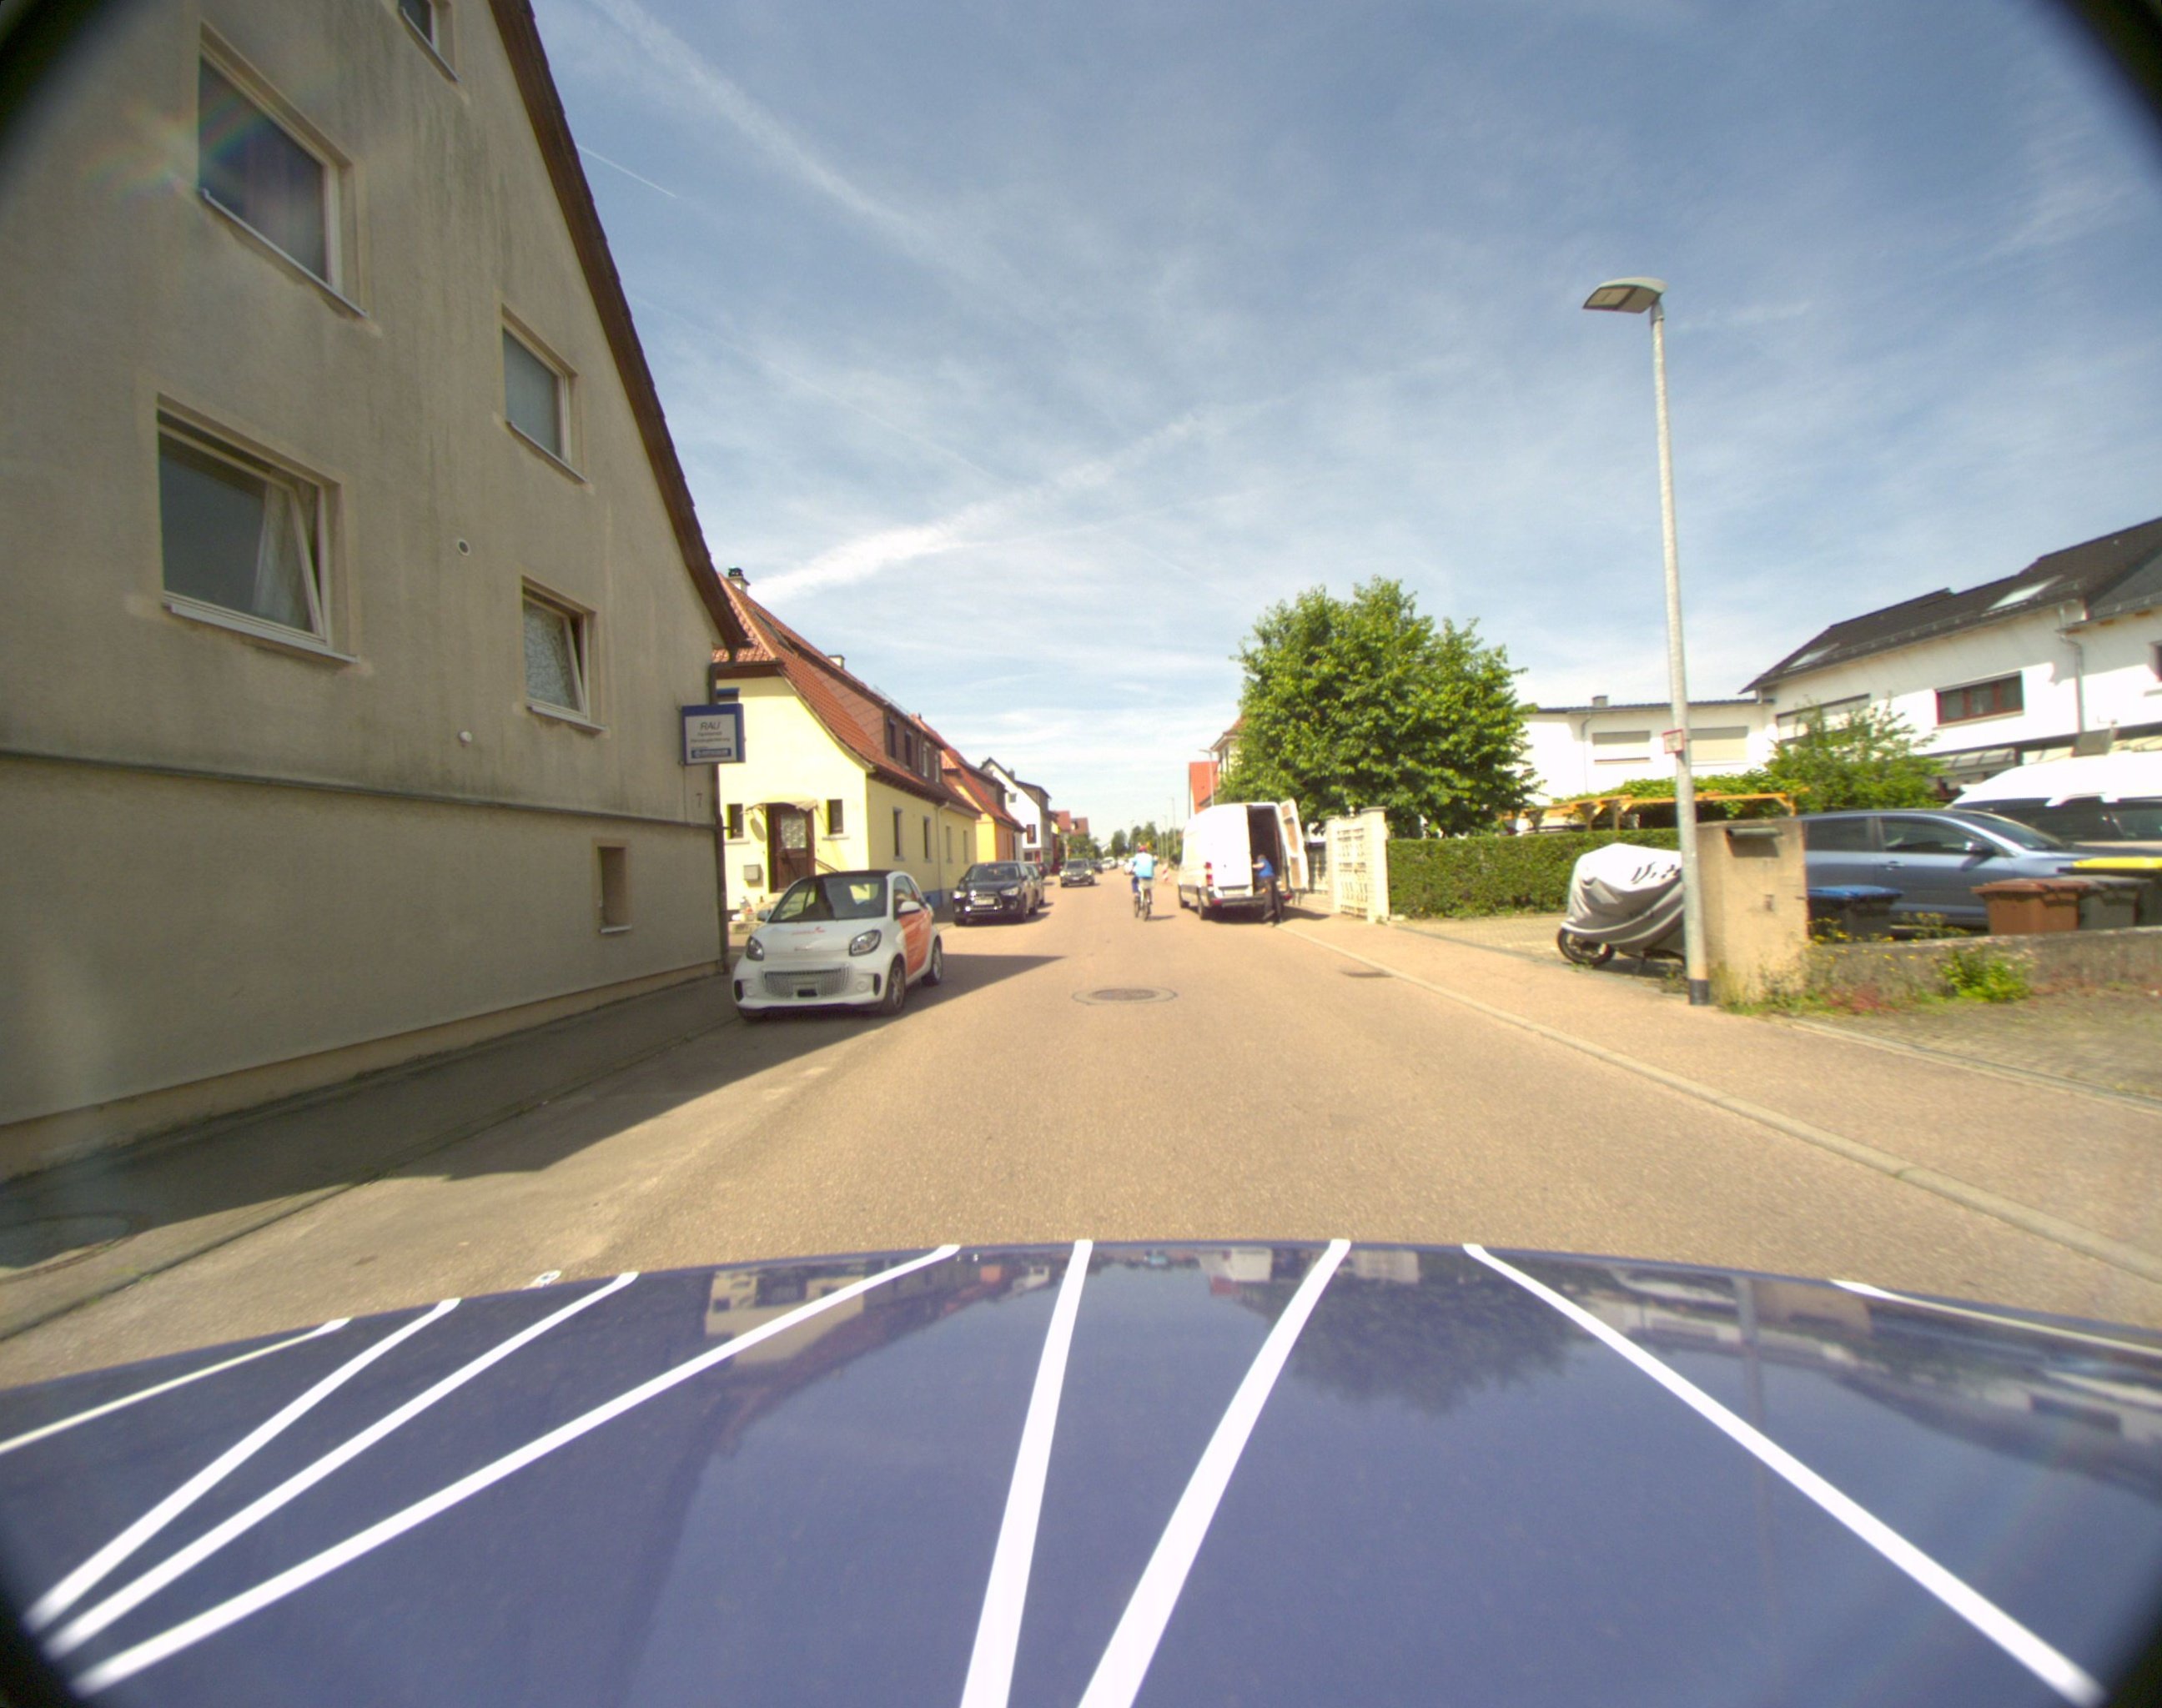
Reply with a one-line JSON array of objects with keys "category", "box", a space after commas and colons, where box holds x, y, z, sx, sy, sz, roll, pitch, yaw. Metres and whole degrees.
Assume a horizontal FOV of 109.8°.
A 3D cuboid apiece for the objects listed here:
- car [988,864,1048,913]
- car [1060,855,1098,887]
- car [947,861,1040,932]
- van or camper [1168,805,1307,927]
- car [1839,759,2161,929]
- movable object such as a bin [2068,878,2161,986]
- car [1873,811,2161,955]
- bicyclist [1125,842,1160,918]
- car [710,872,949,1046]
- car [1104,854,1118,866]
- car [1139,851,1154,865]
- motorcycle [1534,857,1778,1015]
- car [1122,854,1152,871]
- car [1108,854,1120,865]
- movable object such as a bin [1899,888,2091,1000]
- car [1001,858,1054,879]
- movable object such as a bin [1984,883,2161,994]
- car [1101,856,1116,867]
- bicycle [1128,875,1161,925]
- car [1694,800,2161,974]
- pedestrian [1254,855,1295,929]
[{"category": "car", "box": [-2.103, 1.124, 26.096, 1.615, 1.422, 3.754, -3, 0, 1]}, {"category": "car", "box": [-0.066, 0.935, 44.081, 1.837, 1.637, 4.325, -3, 0, 4]}, {"category": "car", "box": [-2.221, 1.049, 20.381, 1.732, 1.590, 4.254, -3, 0, 2]}, {"category": "van or camper", "box": [3.822, 0.273, 20.025, 2.190, 2.556, 6.807, -3, 0, 1]}, {"category": "car", "box": [15.936, -0.188, 12.538, 4.815, 2.478, 1.966, -2, 0, 0]}, {"category": "movable object such as a bin", "box": [9.927, 0.699, 6.939, 0.802, 0.900, 0.773, -2, 0, 1]}, {"category": "car", "box": [13.189, 0.307, 9.562, 1.734, 1.668, 4.103, -2, 0, -15]}, {"category": "bicyclist", "box": [1.510, 0.628, 18.768, 0.715, 1.788, 0.942, -3, 0, 0]}, {"category": "car", "box": [-2.733, 1.067, 8.967, 1.677, 1.549, 3.040, -3, 0, 1]}, {"category": "car", "box": [4.587, 0.926, 114.371, 1.740, 1.652, 4.338, -4, 0, 5]}, {"category": "car", "box": [9.059, 0.539, 105.105, 1.972, 1.940, 4.697, -2, 0, 5]}, {"category": "motorcycle", "box": [5.865, 0.738, 7.997, 0.785, 1.385, 2.353, -2, 0, 1]}, {"category": "car", "box": [4.826, 0.724, 65.977, 1.929, 1.390, 4.492, -3, 0, -4]}, {"category": "car", "box": [5.551, 0.864, 126.285, 1.669, 1.739, 4.057, -4, 0, 5]}, {"category": "movable object such as a bin", "box": [8.296, 0.794, 6.937, 0.802, 0.900, 0.773, -2, 0, 1]}, {"category": "car", "box": [-4.707, 1.304, 67.664, 4.301, 1.643, 1.849, -3, 0, 10]}, {"category": "movable object such as a bin", "box": [9.107, 0.746, 6.933, 0.802, 0.900, 0.773, -2, 0, 1]}, {"category": "car", "box": [3.925, 1.081, 107.780, 1.755, 1.412, 4.422, -3, 0, 5]}, {"category": "bicycle", "box": [1.570, 1.105, 18.990, 0.672, 1.126, 2.189, 0, 0, 1]}, {"category": "car", "box": [10.399, 0.319, 9.440, 1.776, 1.668, 3.931, -2, 0, -23]}, {"category": "pedestrian", "box": [4.116, 0.789, 16.197, 0.574, 1.509, 0.726, -5, 0, 0]}]
